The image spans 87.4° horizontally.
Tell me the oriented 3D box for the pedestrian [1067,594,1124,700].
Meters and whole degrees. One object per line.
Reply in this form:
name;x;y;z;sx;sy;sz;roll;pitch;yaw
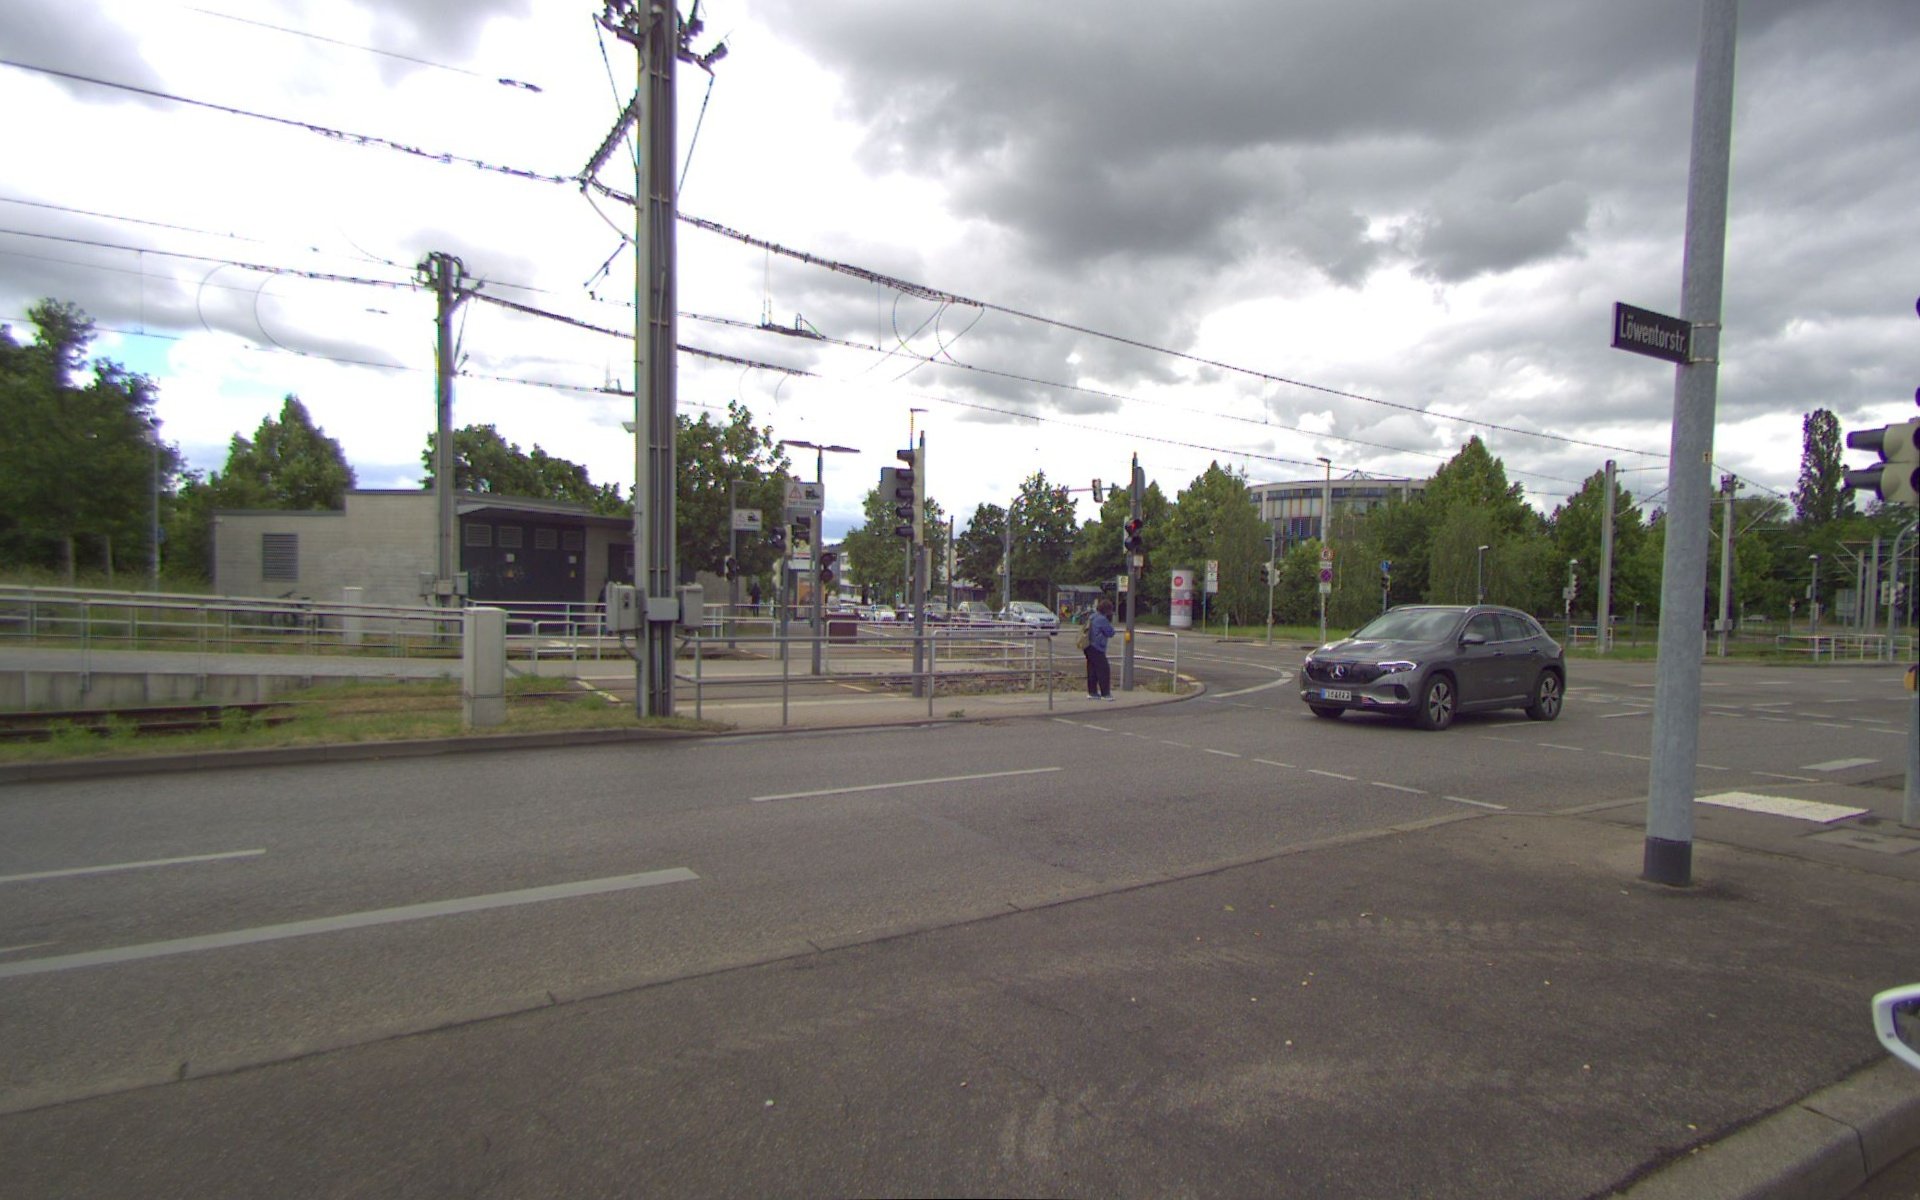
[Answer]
pedestrian;2.080;0.707;15.443;0.701;1.584;0.533;1;1;-44

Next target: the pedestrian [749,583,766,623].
pedestrian;-10.209;0.130;50.673;0.738;1.993;0.795;1;0;-9

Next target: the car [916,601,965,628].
car;-1.151;0.824;58.169;1.706;1.456;3.731;1;0;-20

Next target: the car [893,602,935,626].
car;-3.005;0.897;64.935;1.706;1.456;3.731;1;0;-20

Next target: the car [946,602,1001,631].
car;0.688;0.851;53.673;1.706;1.456;3.731;1;0;-20

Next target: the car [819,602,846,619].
car;-11.931;0.972;94.077;1.706;1.456;3.731;1;0;-20

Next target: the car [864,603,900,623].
car;-5.813;0.972;74.786;1.706;1.456;3.731;1;0;-20

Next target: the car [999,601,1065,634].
car;3.300;0.807;46.813;1.706;1.456;3.731;1;0;-20

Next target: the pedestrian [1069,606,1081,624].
pedestrian;8.341;1.088;72.930;0.652;1.321;0.780;1;0;-16

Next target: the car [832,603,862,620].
car;-9.769;0.997;86.720;1.706;1.456;3.731;1;0;-20

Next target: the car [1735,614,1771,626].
car;116.008;2.905;146.906;1.751;1.567;4.018;1;0;-9

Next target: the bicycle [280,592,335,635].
bicycle;-17.329;0.354;26.682;1.452;1.101;0.492;1;0;22

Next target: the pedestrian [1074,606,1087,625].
pedestrian;8.573;1.097;71.545;0.652;1.322;0.780;1;0;-16

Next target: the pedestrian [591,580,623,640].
pedestrian;-9.661;0.275;27.516;0.698;1.628;0.652;1;0;-31

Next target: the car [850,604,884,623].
car;-7.419;1.032;79.689;1.706;1.456;3.991;1;0;-20

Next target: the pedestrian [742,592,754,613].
pedestrian;-16.590;0.178;78.660;0.771;1.649;0.660;1;0;-22

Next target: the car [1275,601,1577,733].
car;6.512;0.838;13.923;4.176;1.567;1.769;1;0;-31
